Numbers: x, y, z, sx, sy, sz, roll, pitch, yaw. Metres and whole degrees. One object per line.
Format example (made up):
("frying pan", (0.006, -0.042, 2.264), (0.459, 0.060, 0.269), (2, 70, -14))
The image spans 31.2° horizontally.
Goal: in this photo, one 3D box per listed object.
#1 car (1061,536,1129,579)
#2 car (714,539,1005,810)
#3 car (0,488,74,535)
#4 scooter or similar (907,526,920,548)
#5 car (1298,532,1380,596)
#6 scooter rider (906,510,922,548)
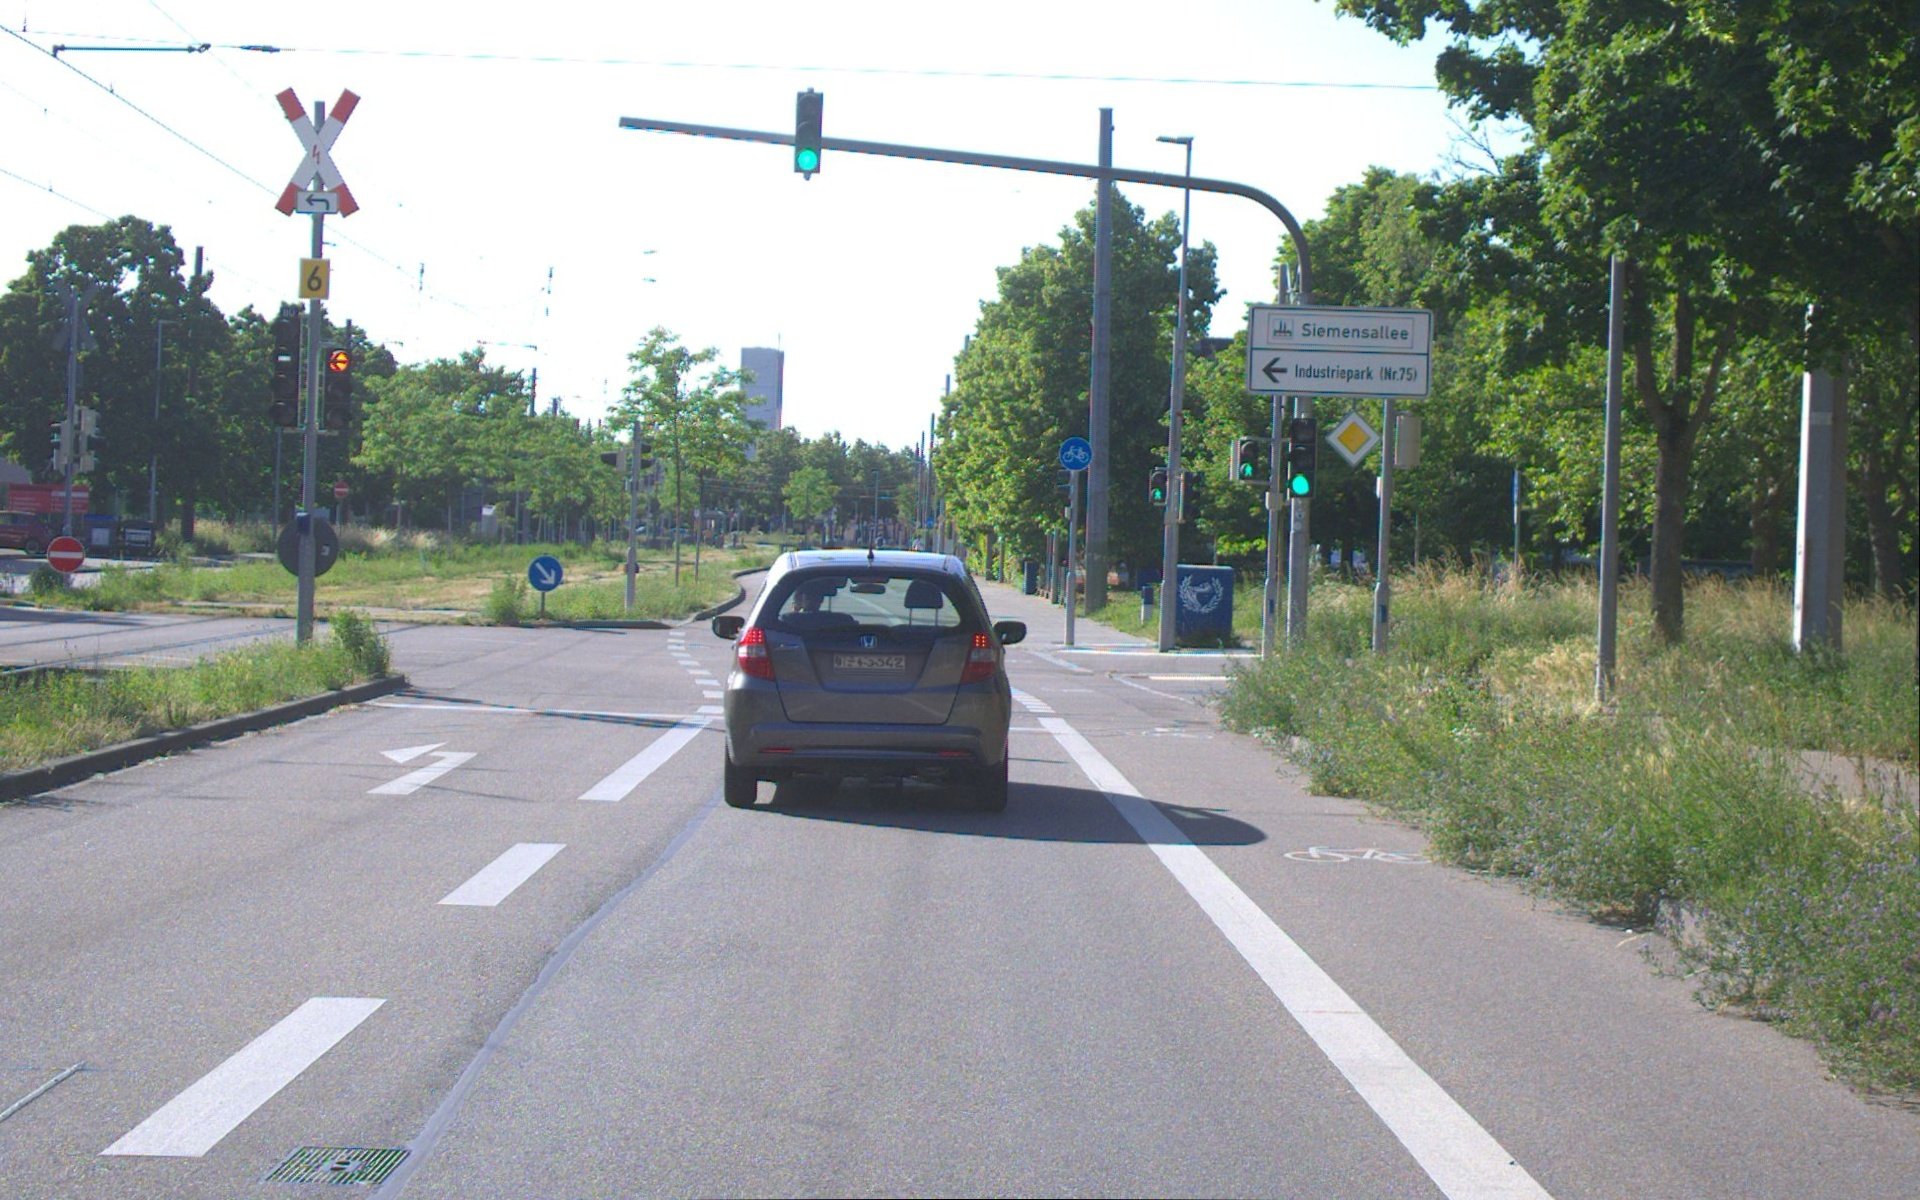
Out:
("car", (4.486, -1.429, 114.649), (1.773, 1.382, 3.871), (1, 1, -5))
("car", (-0.594, 0.392, 21.211), (1.624, 1.494, 3.457), (1, 1, -1))
("car", (-33.484, -3.153, 121.200), (4.070, 1.563, 1.792), (2, 1, -4))
("scooter or similar", (-2.347, -3.211, 174.699), (0.539, 1.114, 1.417), (2, 1, -4))
("car", (12.590, -1.223, 114.502), (1.872, 1.960, 5.168), (3, 1, -2))
("scooter rider", (-2.353, -3.613, 174.667), (0.716, 1.894, 0.935), (2, 1, -4))
